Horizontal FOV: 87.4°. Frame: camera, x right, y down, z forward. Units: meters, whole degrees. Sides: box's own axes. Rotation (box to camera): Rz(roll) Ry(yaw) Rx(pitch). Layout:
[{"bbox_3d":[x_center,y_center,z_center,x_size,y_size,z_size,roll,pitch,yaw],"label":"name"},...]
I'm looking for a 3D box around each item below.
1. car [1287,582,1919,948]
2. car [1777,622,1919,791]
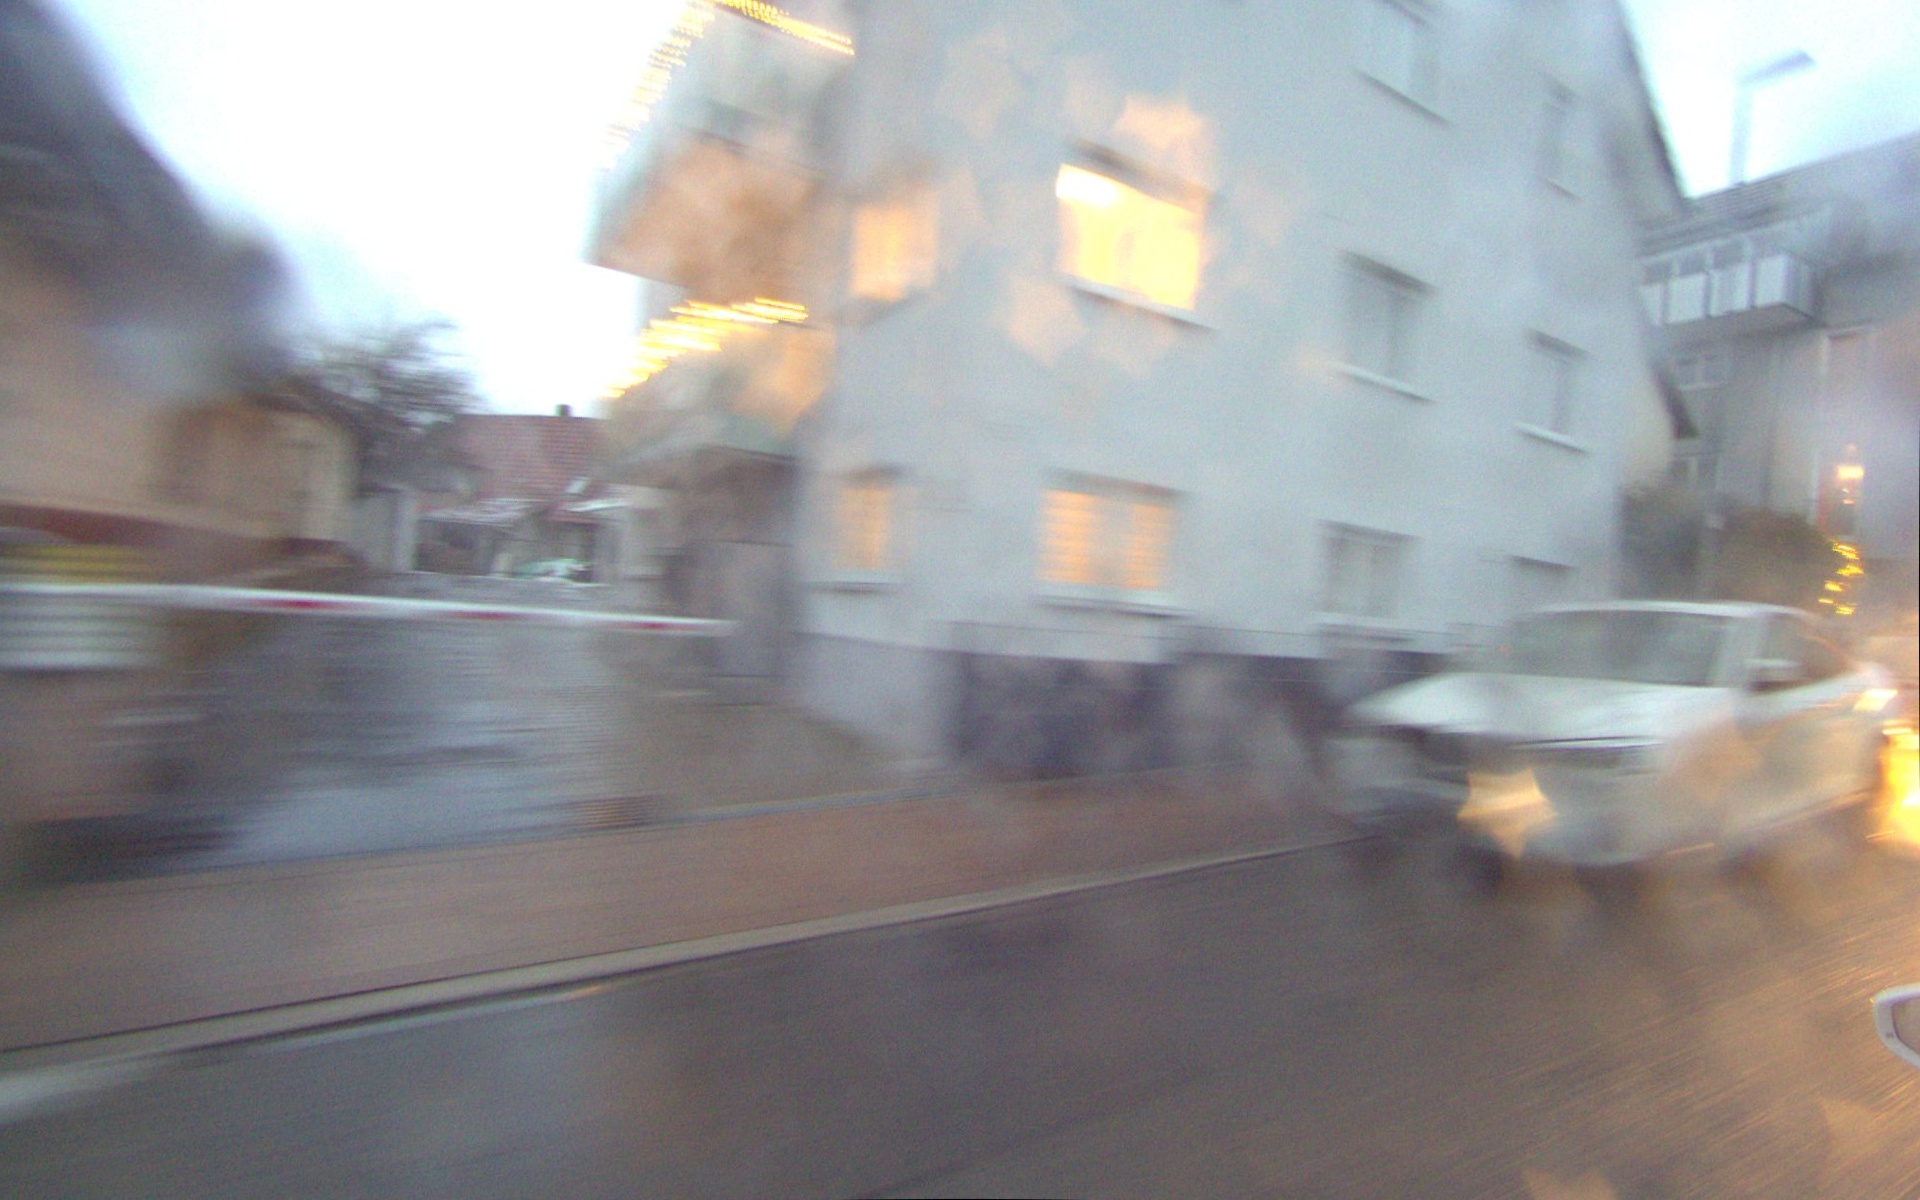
[{"bbox_3d":[4.338,0.794,6.545,4.377,1.646,1.906,2,-1,-34],"label":"car"},{"bbox_3d":[10.022,1.001,10.098,3.993,1.455,1.723,2,-1,-34],"label":"car"}]
